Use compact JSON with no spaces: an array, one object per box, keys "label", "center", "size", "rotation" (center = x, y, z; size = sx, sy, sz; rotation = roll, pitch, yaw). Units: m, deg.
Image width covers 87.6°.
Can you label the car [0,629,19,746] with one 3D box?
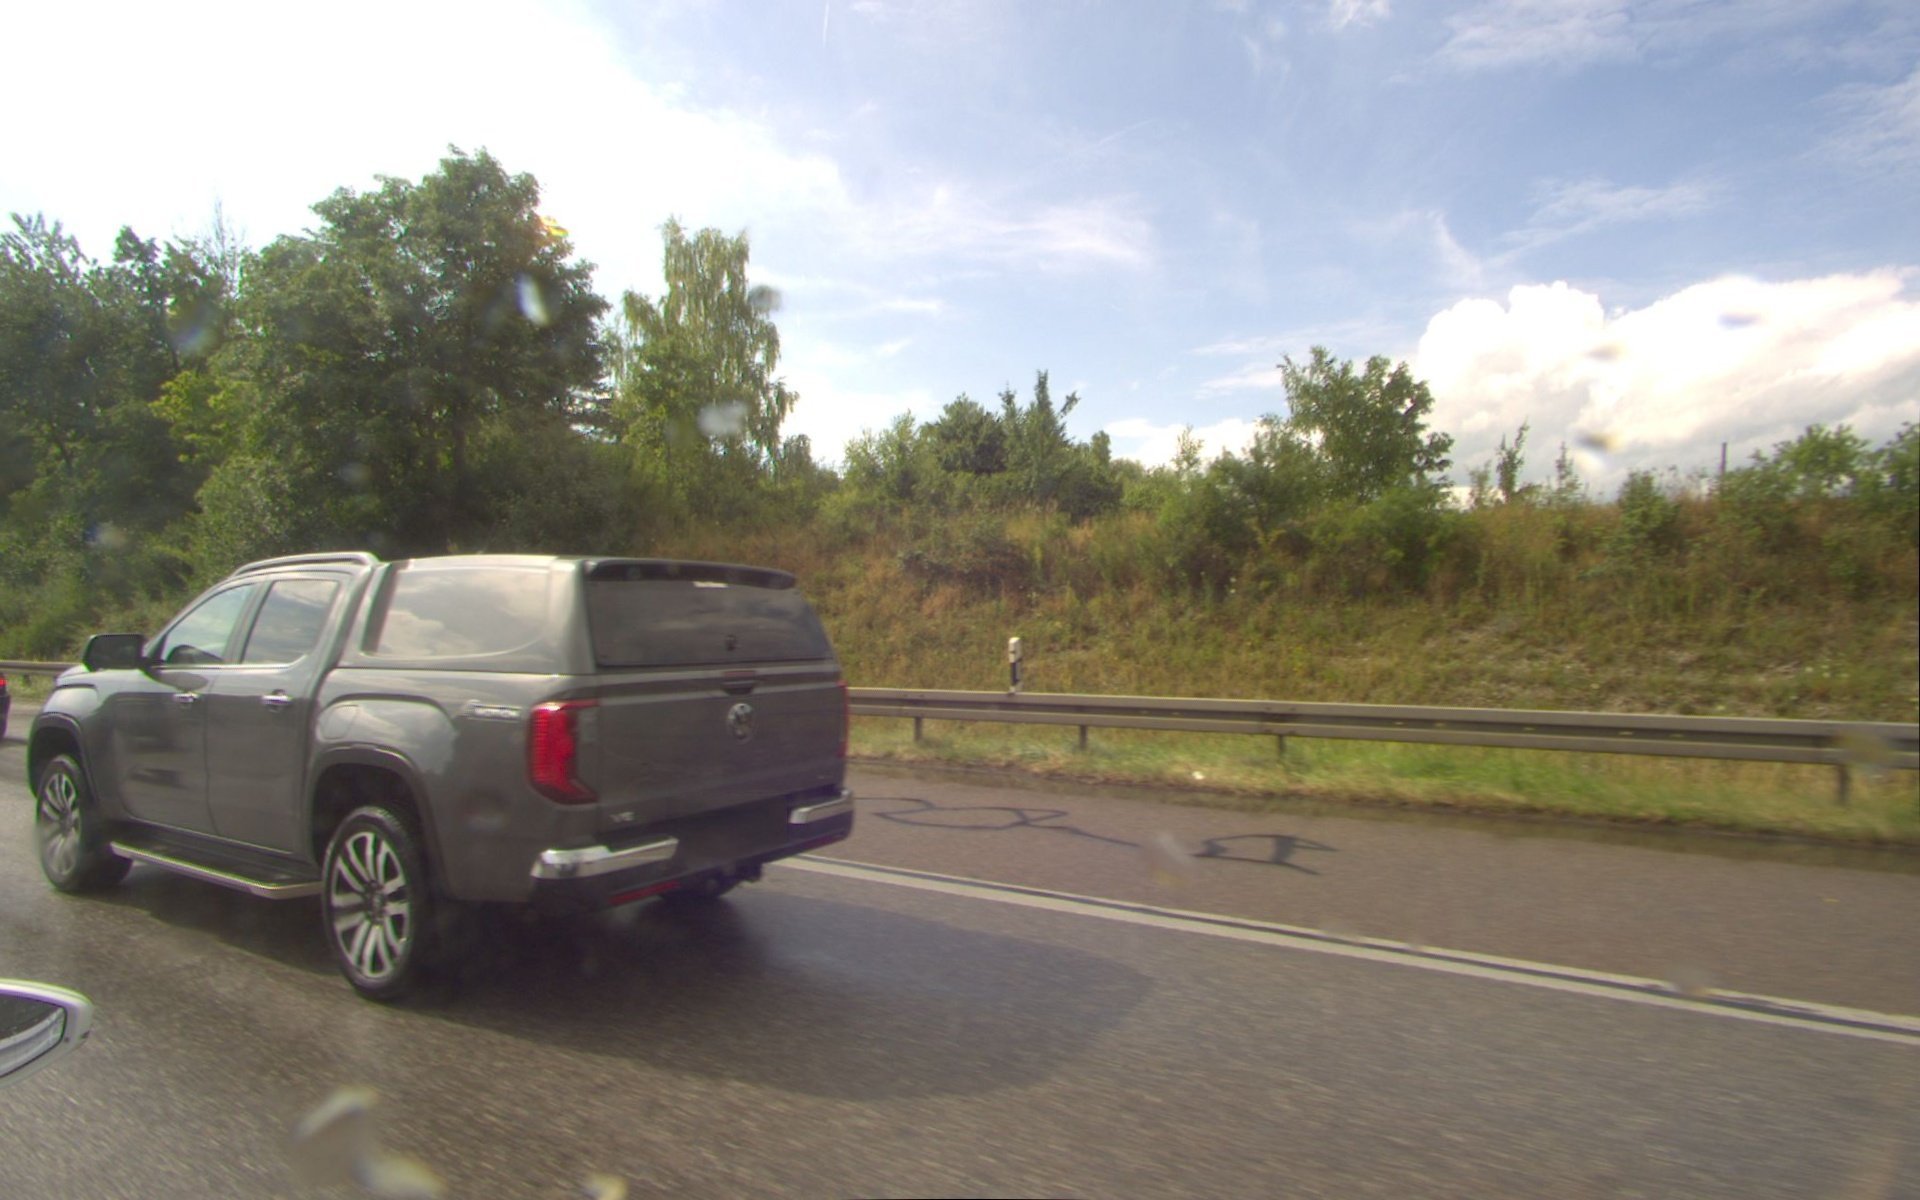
[{"label":"car","center":[-14.583,1.179,13.732],"size":[3.921,1.535,1.587],"rotation":[-1,-2,34]}]

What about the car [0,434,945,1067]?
[{"label":"car","center":[-2.939,0.548,5.374],"size":[5.570,1.943,1.939],"rotation":[-1,-2,31]}]
